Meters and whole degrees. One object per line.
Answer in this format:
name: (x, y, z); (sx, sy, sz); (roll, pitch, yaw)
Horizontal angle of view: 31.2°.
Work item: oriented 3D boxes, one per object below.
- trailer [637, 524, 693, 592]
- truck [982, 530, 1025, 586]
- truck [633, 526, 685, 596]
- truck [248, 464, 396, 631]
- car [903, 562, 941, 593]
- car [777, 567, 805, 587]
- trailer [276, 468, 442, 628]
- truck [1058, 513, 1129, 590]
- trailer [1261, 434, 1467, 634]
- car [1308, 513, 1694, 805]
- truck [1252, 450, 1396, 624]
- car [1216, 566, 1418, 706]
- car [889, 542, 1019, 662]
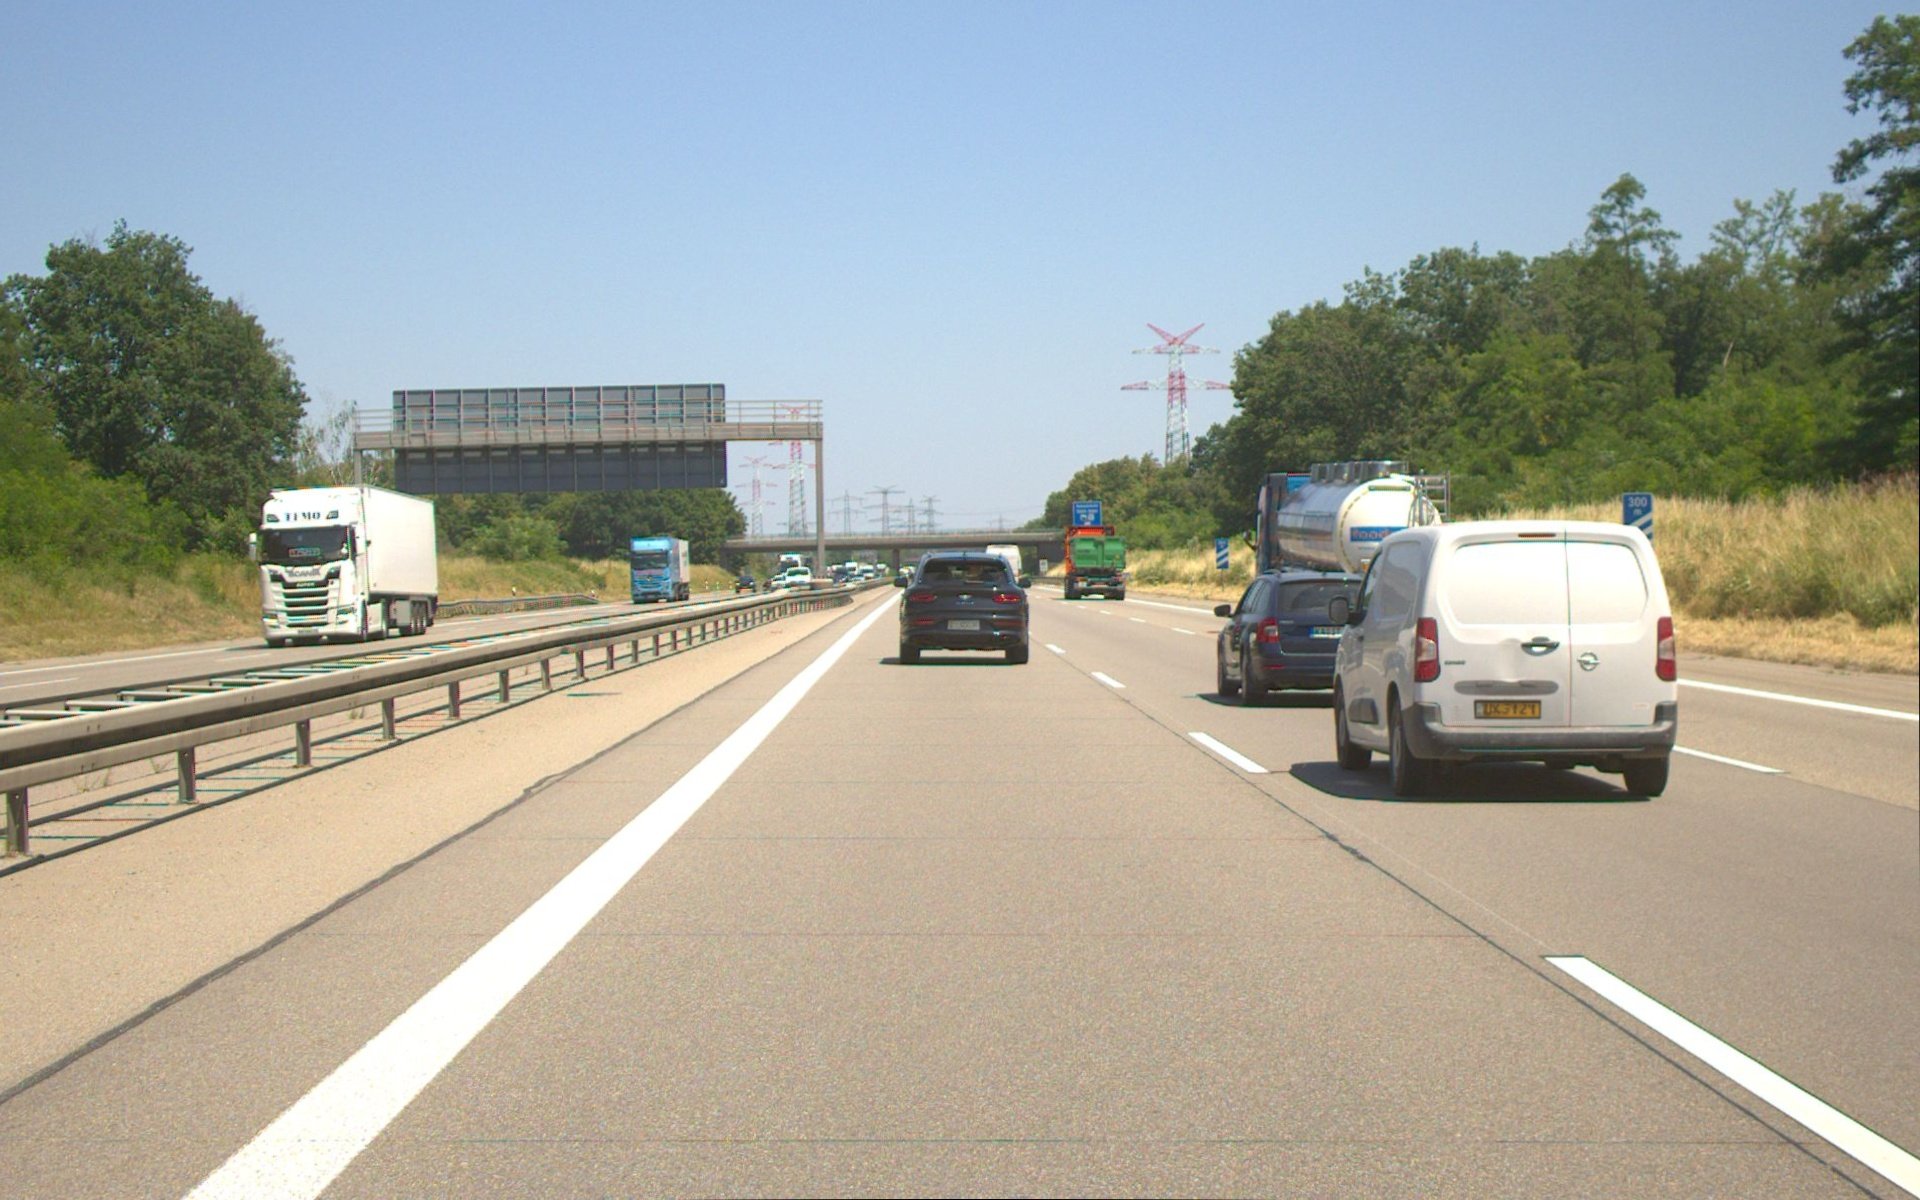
trailer: (-18.905, -2.690, 220.504); (2.702, 4.172, 10.767); (-2, 1, -1)
truck: (2.315, -2.256, 185.290); (2.060, 2.904, 7.003); (0, 1, -1)
truck: (-18.784, -2.450, 214.755); (2.702, 4.172, 4.723); (-2, 1, -1)
truck: (-16.889, -1.390, 91.361); (2.702, 4.172, 6.189); (-2, 1, -1)
car: (-1.583, -0.951, 141.818); (1.524, 1.248, 3.626); (0, 1, -1)
car: (-12.325, -1.692, 250.660); (1.927, 1.344, 3.565); (-3, 1, -1)
trailer: (-17.010, -1.478, 98.147); (2.702, 4.172, 12.064); (-2, 1, -1)
truck: (6.723, -2.443, 173.926); (2.989, 3.716, 10.090); (1, 1, -1)
trailer: (8.345, -1.342, 72.495); (2.682, 3.824, 12.011); (1, 1, -1)
car: (3.656, 0.342, 24.134); (1.814, 1.821, 5.111); (0, 1, -1)
truck: (8.239, -1.414, 78.211); (2.682, 3.824, 4.444); (1, 0, -1)
car: (3.917, 0.359, 38.258); (1.774, 1.467, 3.873); (0, 1, -1)
car: (-0.146, -0.014, 54.769); (1.940, 1.746, 5.814); (0, 1, -1)
